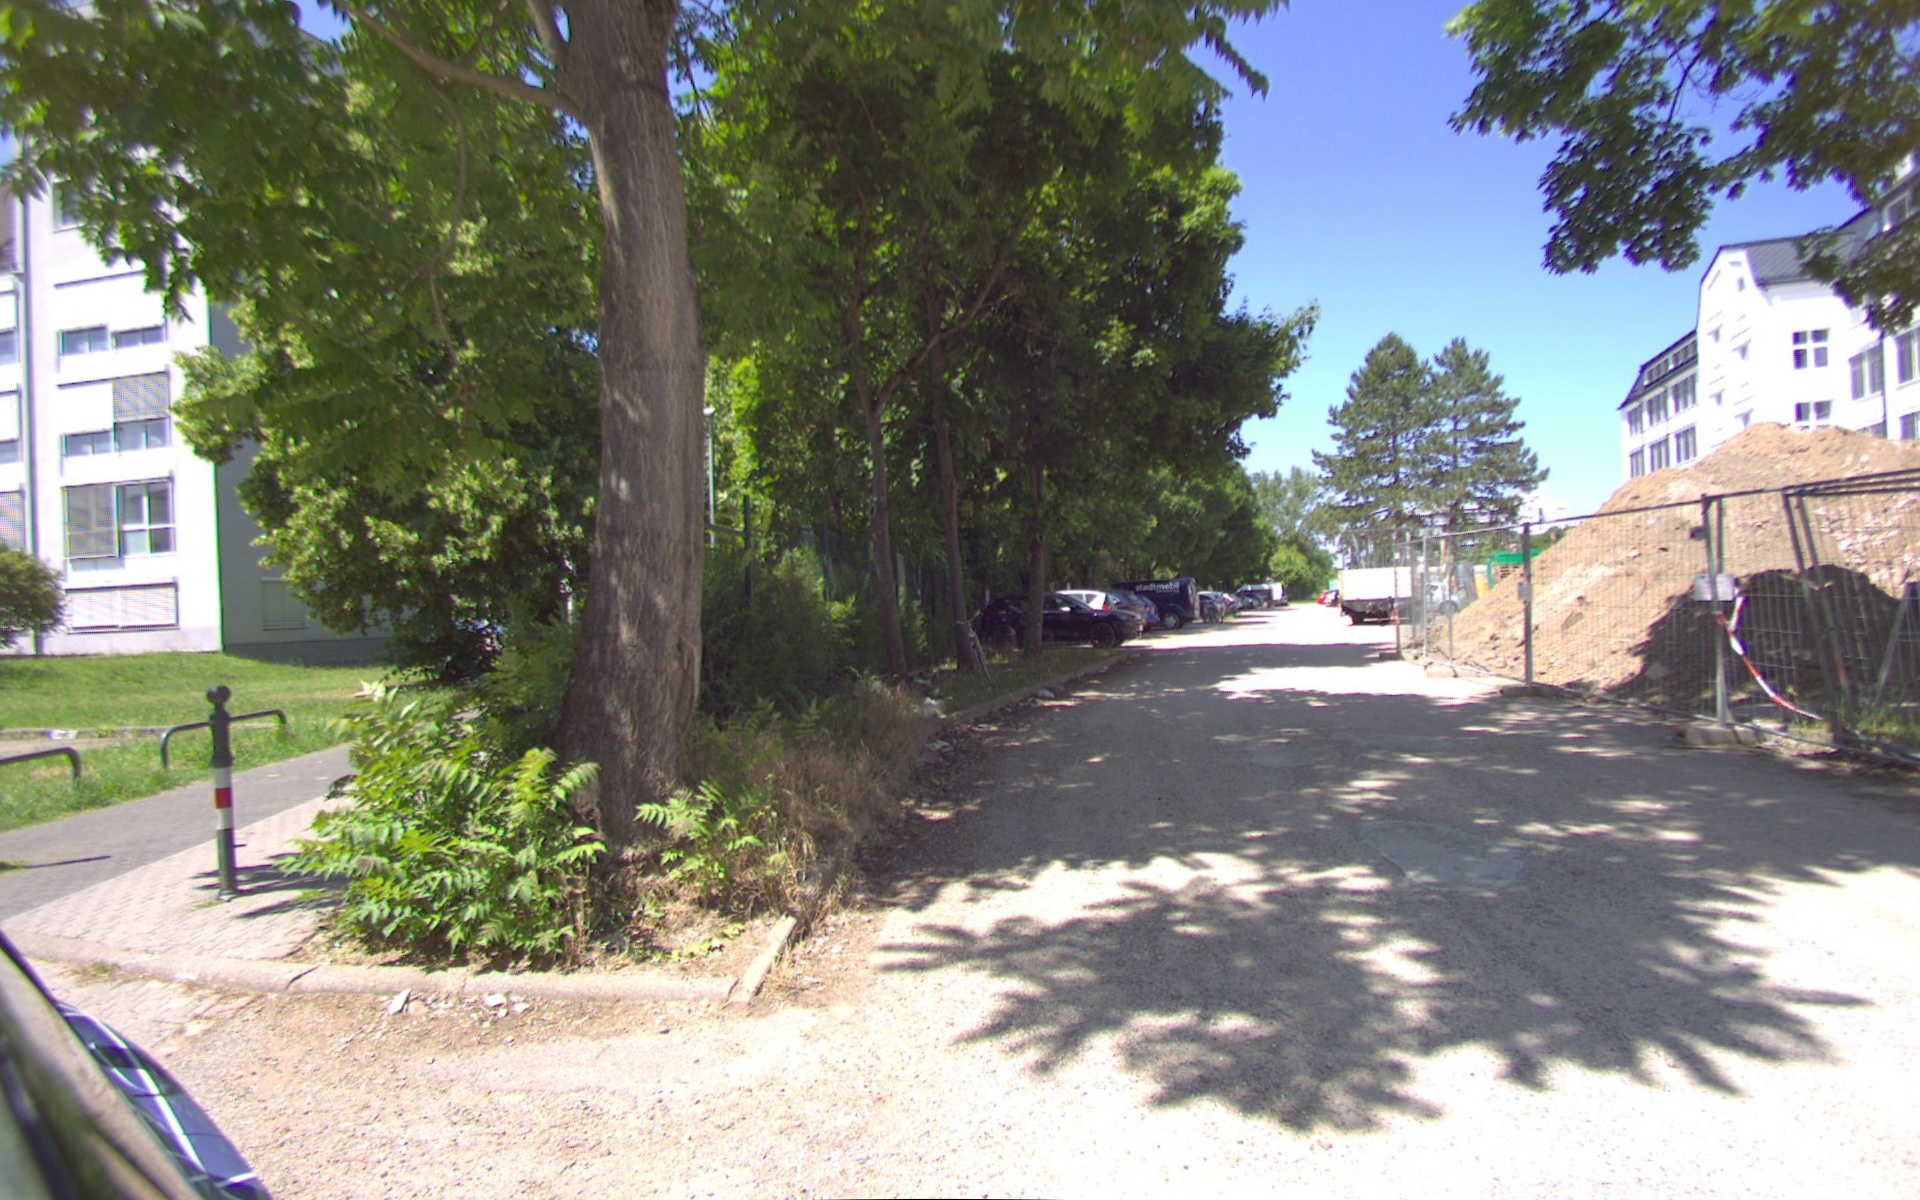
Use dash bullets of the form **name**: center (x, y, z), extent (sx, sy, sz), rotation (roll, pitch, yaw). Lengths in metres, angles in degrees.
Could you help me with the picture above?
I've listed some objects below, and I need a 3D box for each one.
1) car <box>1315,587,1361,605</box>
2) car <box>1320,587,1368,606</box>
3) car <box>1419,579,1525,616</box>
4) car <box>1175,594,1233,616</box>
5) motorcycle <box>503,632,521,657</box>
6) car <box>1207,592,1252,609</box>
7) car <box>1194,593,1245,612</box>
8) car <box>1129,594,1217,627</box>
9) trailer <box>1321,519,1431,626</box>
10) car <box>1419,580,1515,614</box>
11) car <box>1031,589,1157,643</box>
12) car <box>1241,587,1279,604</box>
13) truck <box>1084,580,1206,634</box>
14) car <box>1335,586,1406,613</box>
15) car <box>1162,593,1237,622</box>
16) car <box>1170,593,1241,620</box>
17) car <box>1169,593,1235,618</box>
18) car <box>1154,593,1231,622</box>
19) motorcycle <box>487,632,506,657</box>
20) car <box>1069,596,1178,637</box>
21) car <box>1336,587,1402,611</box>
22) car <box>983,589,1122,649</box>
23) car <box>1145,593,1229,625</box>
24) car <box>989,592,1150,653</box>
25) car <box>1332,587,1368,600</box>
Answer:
- **car**: center (33.587, -0.346, 90.013), extent (3.763, 1.420, 1.729), rotation (-2, 0, 21)
- **car**: center (32.555, -0.294, 85.799), extent (3.763, 1.420, 1.729), rotation (-2, 0, 21)
- **car**: center (21.419, -0.101, 42.476), extent (3.763, 1.420, 1.729), rotation (-2, 0, 21)
- **car**: center (17.160, 0.360, 71.075), extent (3.763, 1.420, 1.729), rotation (-2, 0, 21)
- **motorcycle**: center (-23.326, 2.307, 52.737), extent (0.688, 1.176, 2.318), rotation (-2, 0, -20)
- **car**: center (24.574, 0.070, 92.372), extent (3.763, 1.420, 1.729), rotation (-2, 0, 21)
- **car**: center (20.768, 0.227, 81.023), extent (3.763, 1.420, 1.729), rotation (-2, 0, 21)
- **car**: center (9.935, 0.480, 47.206), extent (3.763, 1.420, 1.729), rotation (-2, 0, 21)
- **trailer**: center (15.586, -0.934, 37.503), extent (3.027, 3.447, 8.692), rotation (-2, 0, 27)
- **car**: center (23.514, -0.138, 47.082), extent (3.763, 1.420, 1.729), rotation (-2, 0, 21)
- **car**: center (4.392, 0.528, 33.055), extent (3.760, 1.647, 1.836), rotation (-2, 0, 19)
- **car**: center (32.623, -0.459, 110.077), extent (3.763, 1.734, 1.729), rotation (-2, 0, 21)
- **truck**: center (7.352, 0.280, 40.177), extent (4.426, 2.009, 1.986), rotation (-2, 0, 21)
- **car**: center (23.821, -0.027, 58.885), extent (3.763, 1.420, 1.729), rotation (-2, 0, 21)
- **car**: center (13.038, 0.403, 55.121), extent (3.763, 1.420, 1.729), rotation (-2, 0, 21)
- **car**: center (14.181, 0.370, 58.470), extent (3.763, 1.420, 1.729), rotation (-2, 0, 21)
- **car**: center (14.974, 0.350, 62.503), extent (3.763, 1.420, 1.729), rotation (-2, 0, 21)
- **car**: center (12.247, 0.409, 53.285), extent (3.763, 1.420, 1.729), rotation (-2, 0, 21)
- **motorcycle**: center (-24.028, 2.284, 52.438), extent (0.688, 1.176, 2.310), rotation (-2, 0, -20)
- **car**: center (6.125, 0.605, 37.787), extent (3.760, 1.420, 1.730), rotation (-2, 0, 19)
- **car**: center (25.823, -0.074, 63.964), extent (3.763, 1.420, 1.729), rotation (-2, 0, 21)
- **car**: center (2.768, 0.563, 30.030), extent (3.760, 1.647, 1.836), rotation (-2, 0, 19)
- **car**: center (11.079, 0.440, 49.322), extent (3.763, 1.420, 1.729), rotation (-2, 0, 21)
- **car**: center (2.916, 0.595, 26.986), extent (3.970, 1.514, 1.679), rotation (-2, 0, 20)
- **car**: center (43.620, -0.721, 113.215), extent (3.763, 1.420, 1.729), rotation (-2, 0, 21)
